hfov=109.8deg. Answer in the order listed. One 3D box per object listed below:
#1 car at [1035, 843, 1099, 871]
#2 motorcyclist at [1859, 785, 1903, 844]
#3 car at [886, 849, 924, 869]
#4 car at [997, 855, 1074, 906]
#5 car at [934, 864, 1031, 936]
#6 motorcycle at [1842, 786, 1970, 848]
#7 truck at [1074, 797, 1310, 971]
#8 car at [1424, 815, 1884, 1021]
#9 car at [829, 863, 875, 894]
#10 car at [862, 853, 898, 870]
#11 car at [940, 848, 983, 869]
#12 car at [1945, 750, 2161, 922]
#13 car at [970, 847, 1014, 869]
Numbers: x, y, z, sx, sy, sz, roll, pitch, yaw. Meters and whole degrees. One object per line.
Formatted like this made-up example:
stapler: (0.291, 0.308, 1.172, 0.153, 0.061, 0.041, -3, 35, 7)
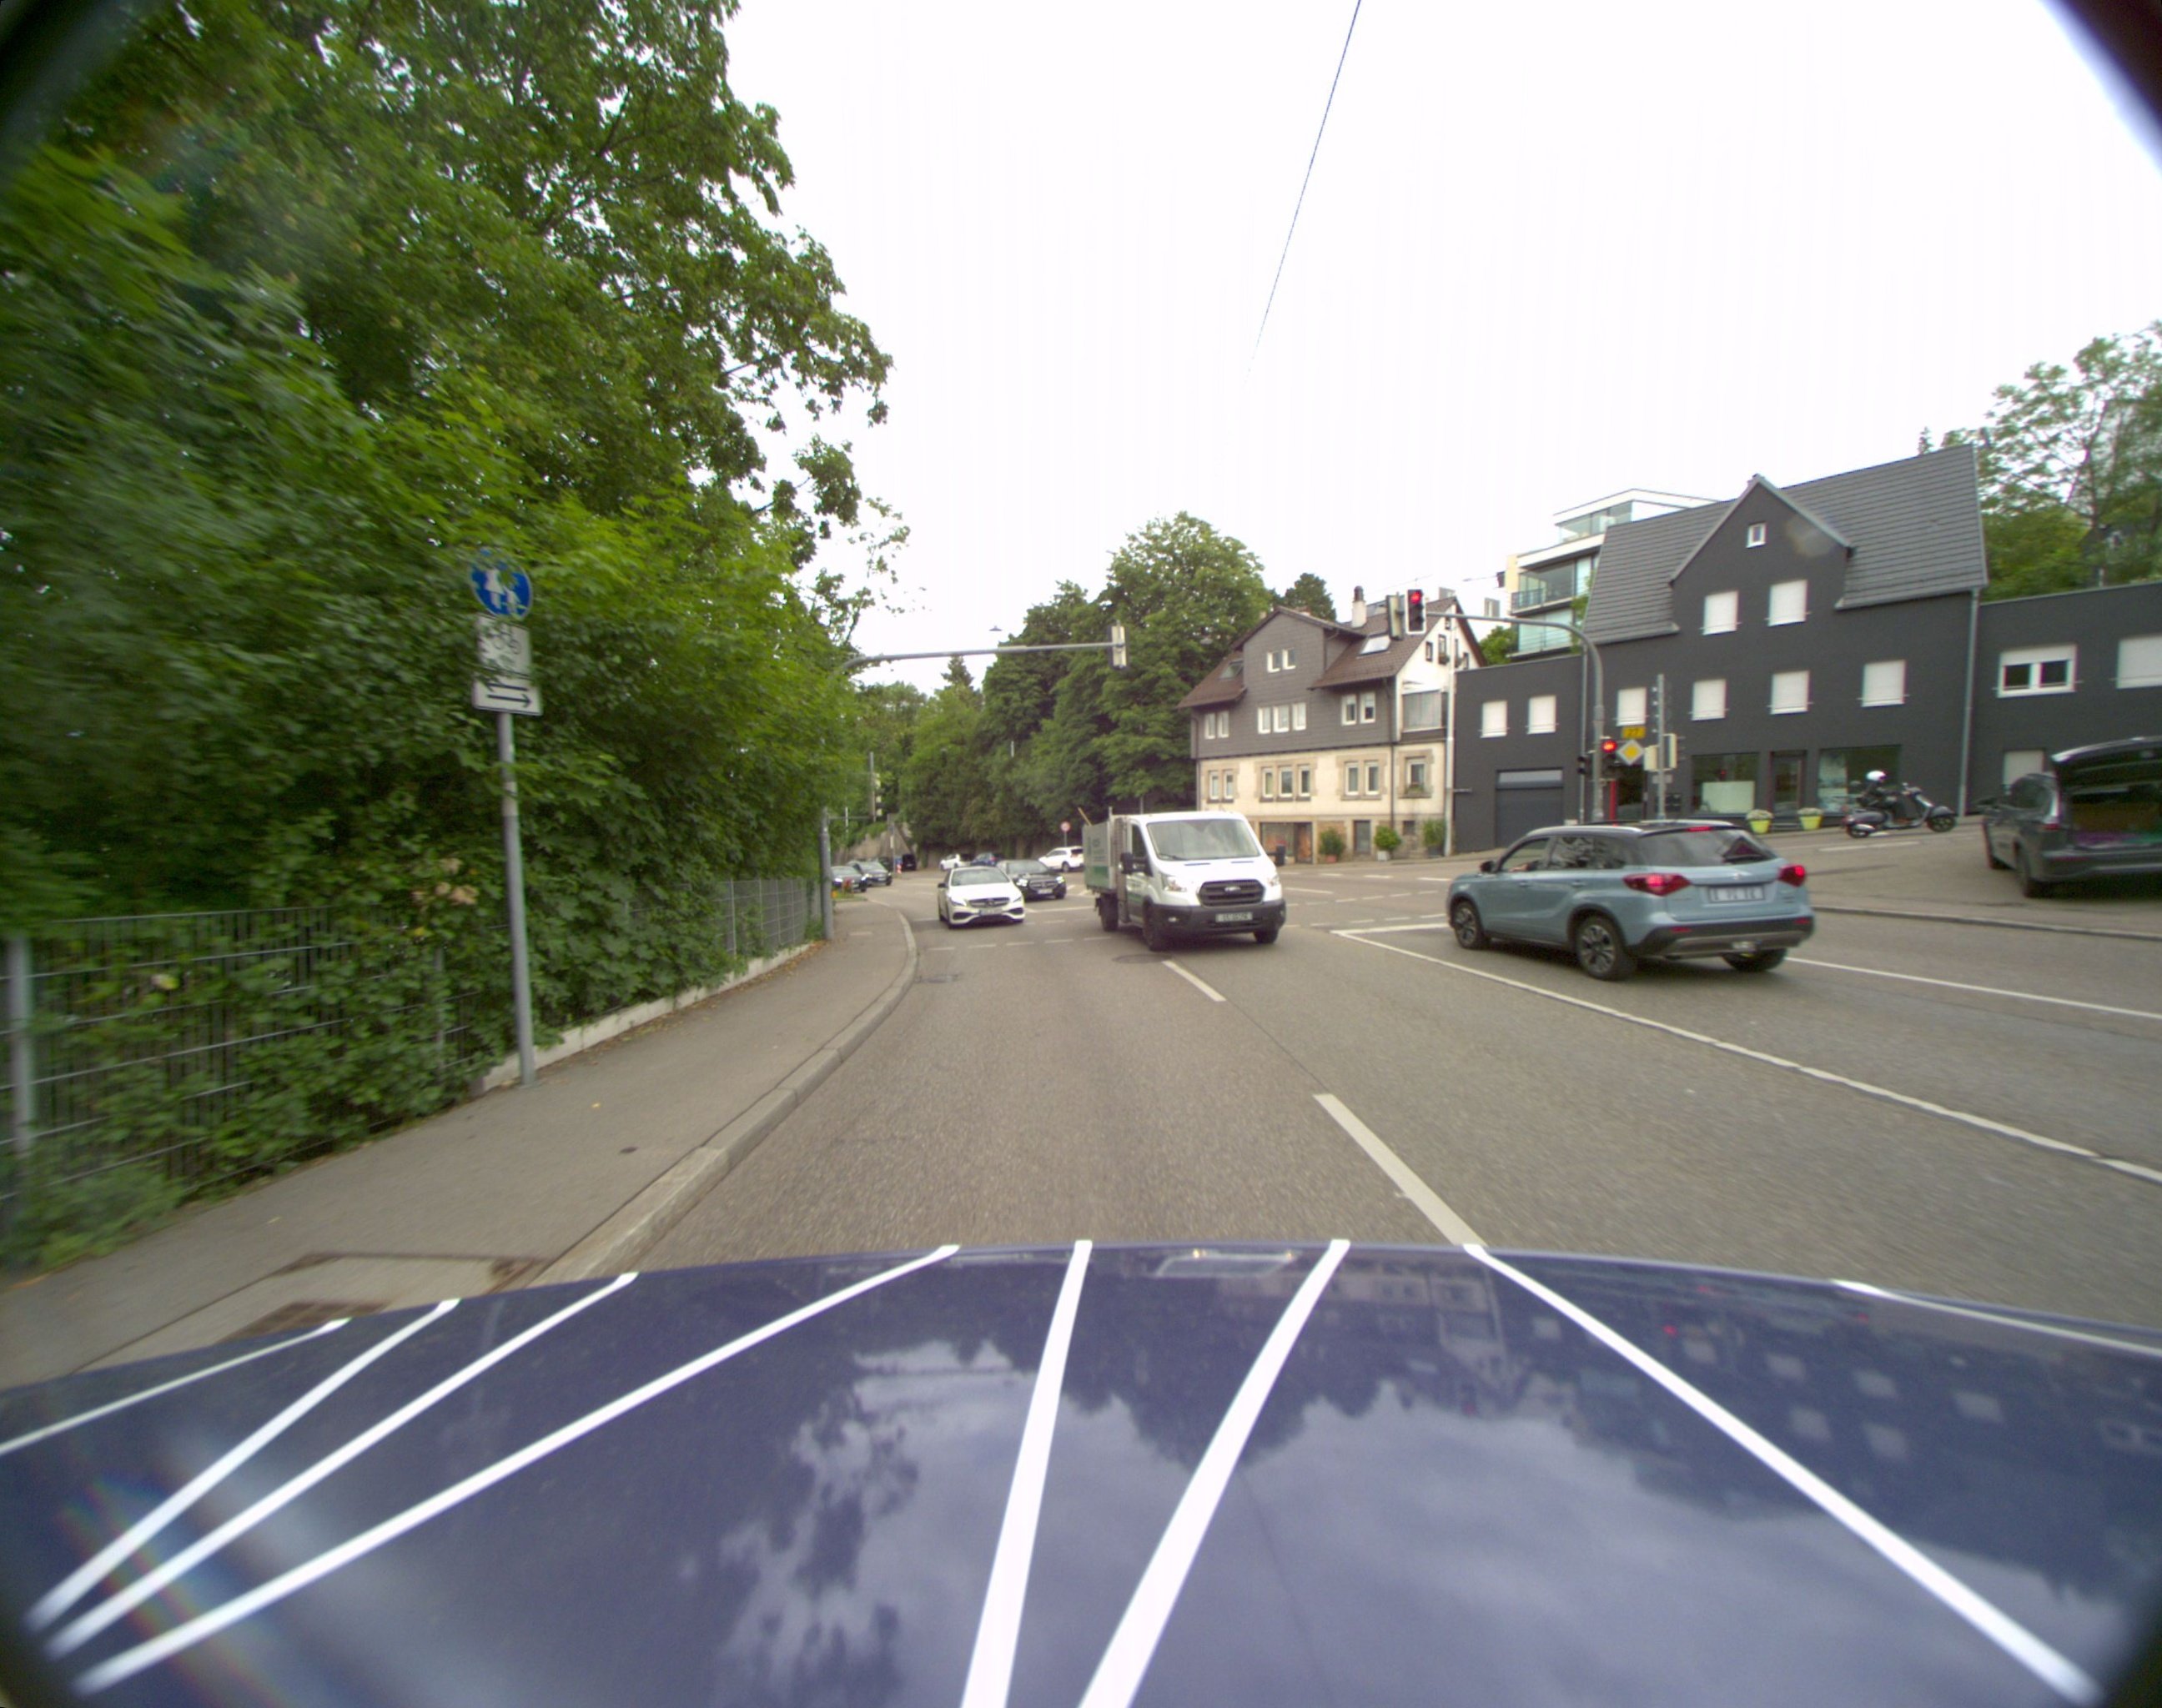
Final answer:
car: (-0.929, 0.221, 47.904, 1.892, 1.559, 4.378, -5, 1, -34)
motorcyclist: (19.981, -0.984, 18.983, 0.686, 1.411, 0.721, -5, 2, -42)
car: (-17.843, 0.509, 76.963, 1.788, 1.832, 4.477, -6, 2, -39)
car: (-1.710, 0.861, 26.972, 1.917, 1.472, 4.395, -5, 2, -12)
car: (-2.571, 1.051, 19.012, 1.819, 1.391, 3.994, -4, 1, -15)
motorcycle: (20.291, -0.899, 18.747, 0.831, 1.291, 2.040, -7, 2, -43)
truck: (1.565, 0.406, 13.754, 2.082, 2.308, 6.325, -4, 1, -12)
car: (6.005, 0.544, 8.815, 1.901, 1.685, 4.346, -3, 1, -2)
car: (-12.944, 1.335, 42.778, 1.780, 1.533, 3.992, -5, 2, -25)
car: (-21.563, 0.852, 81.403, 1.979, 1.647, 4.520, -6, 3, -38)
car: (-10.609, 0.386, 67.172, 1.788, 1.620, 4.160, -6, 2, -40)
car: (14.445, -0.355, 10.859, 2.313, 1.703, 4.709, -7, 3, 45)
car: (-7.386, 0.346, 62.600, 1.720, 1.520, 4.291, -6, 2, -34)
